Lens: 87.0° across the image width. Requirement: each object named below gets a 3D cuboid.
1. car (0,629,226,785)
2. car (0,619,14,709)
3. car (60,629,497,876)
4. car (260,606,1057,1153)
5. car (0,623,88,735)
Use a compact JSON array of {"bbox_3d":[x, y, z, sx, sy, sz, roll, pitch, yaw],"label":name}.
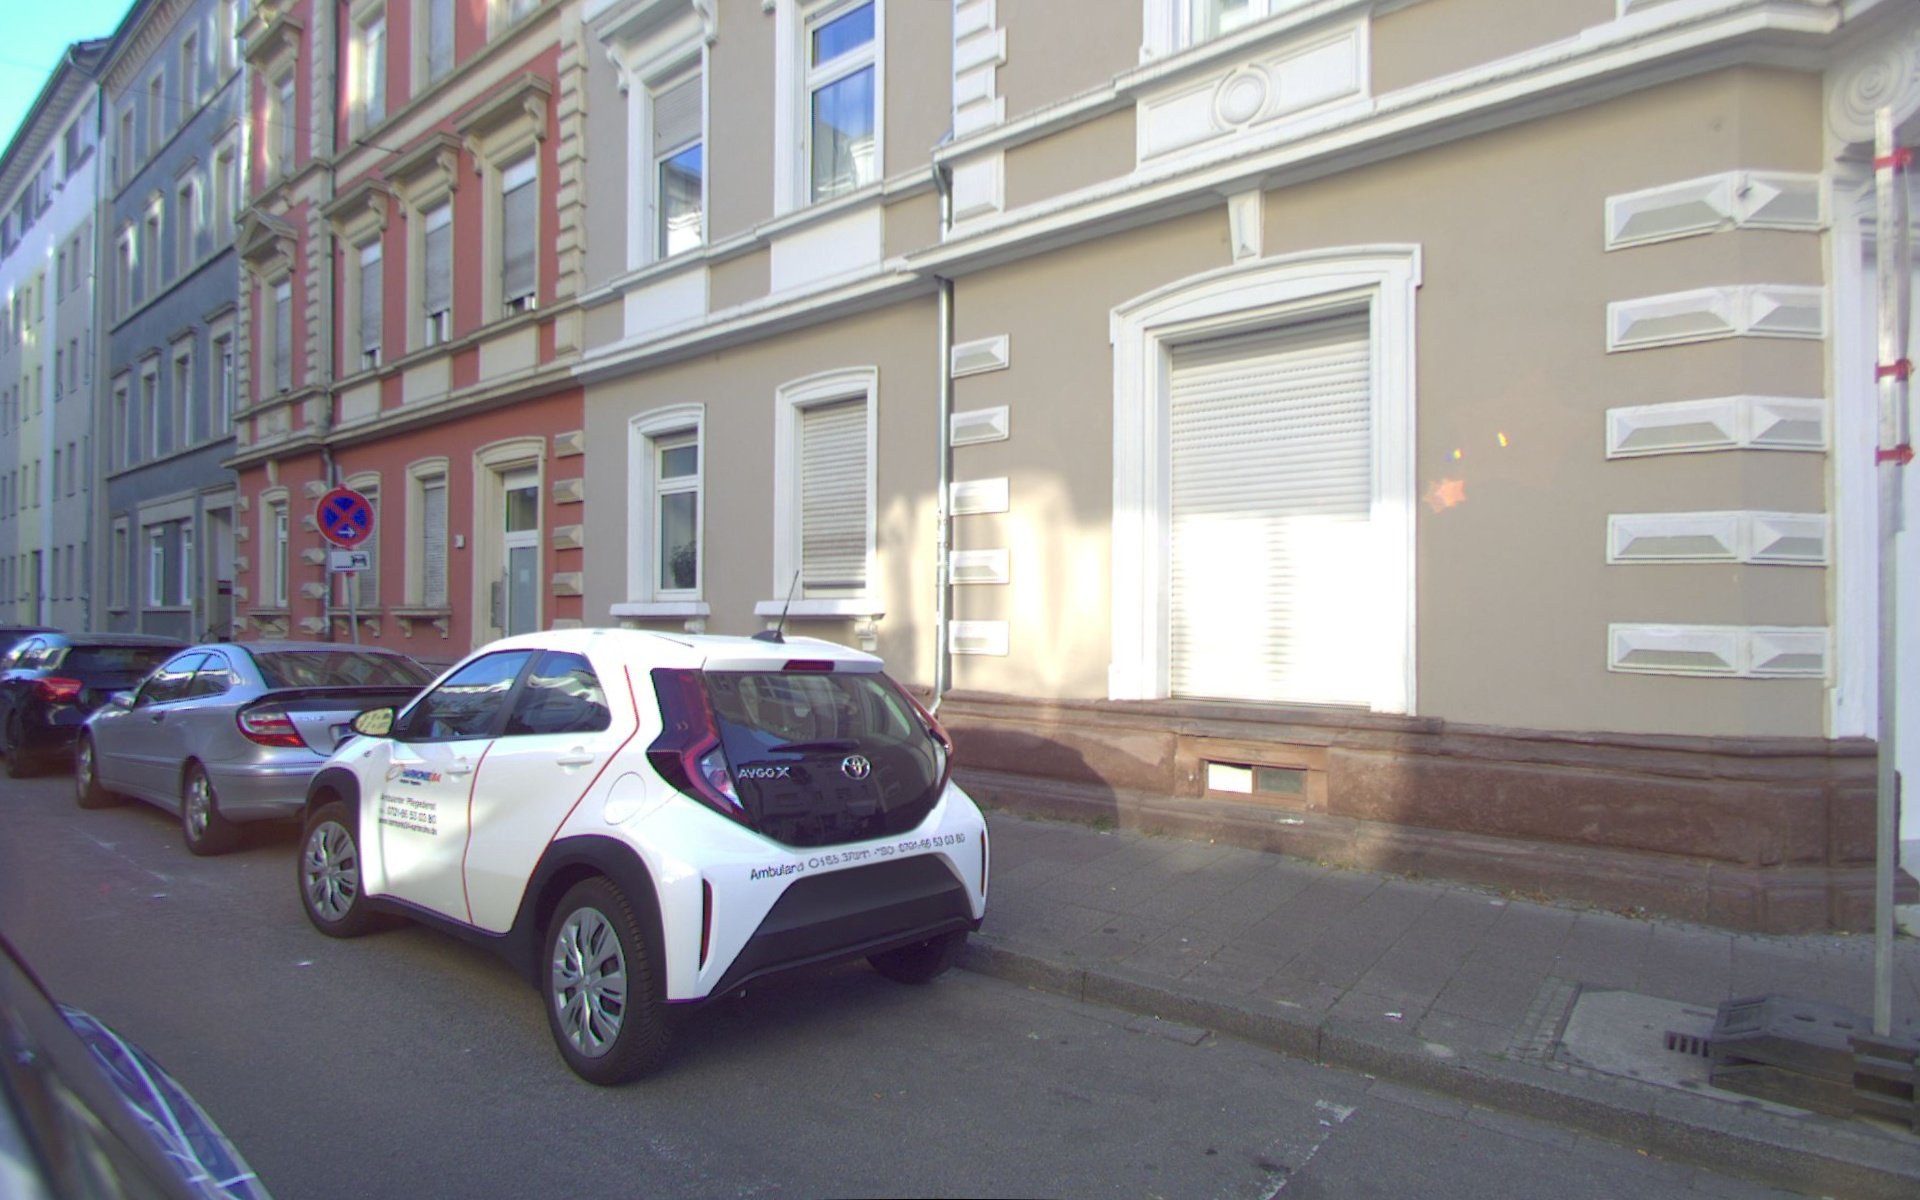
[{"bbox_3d":[-9.735,1.080,11.186,3.907,1.426,1.569,-1,-5,39],"label":"car"},{"bbox_3d":[-18.457,1.107,18.098,4.424,1.534,1.578,-1,-1,38],"label":"car"},{"bbox_3d":[-5.440,0.994,7.907,3.956,1.439,1.594,-1,-4,37],"label":"car"},{"bbox_3d":[-1.624,0.853,4.717,3.841,1.507,1.667,-1,-5,40],"label":"car"},{"bbox_3d":[-14.521,1.093,15.006,4.189,1.510,1.519,-1,-3,37],"label":"car"}]
